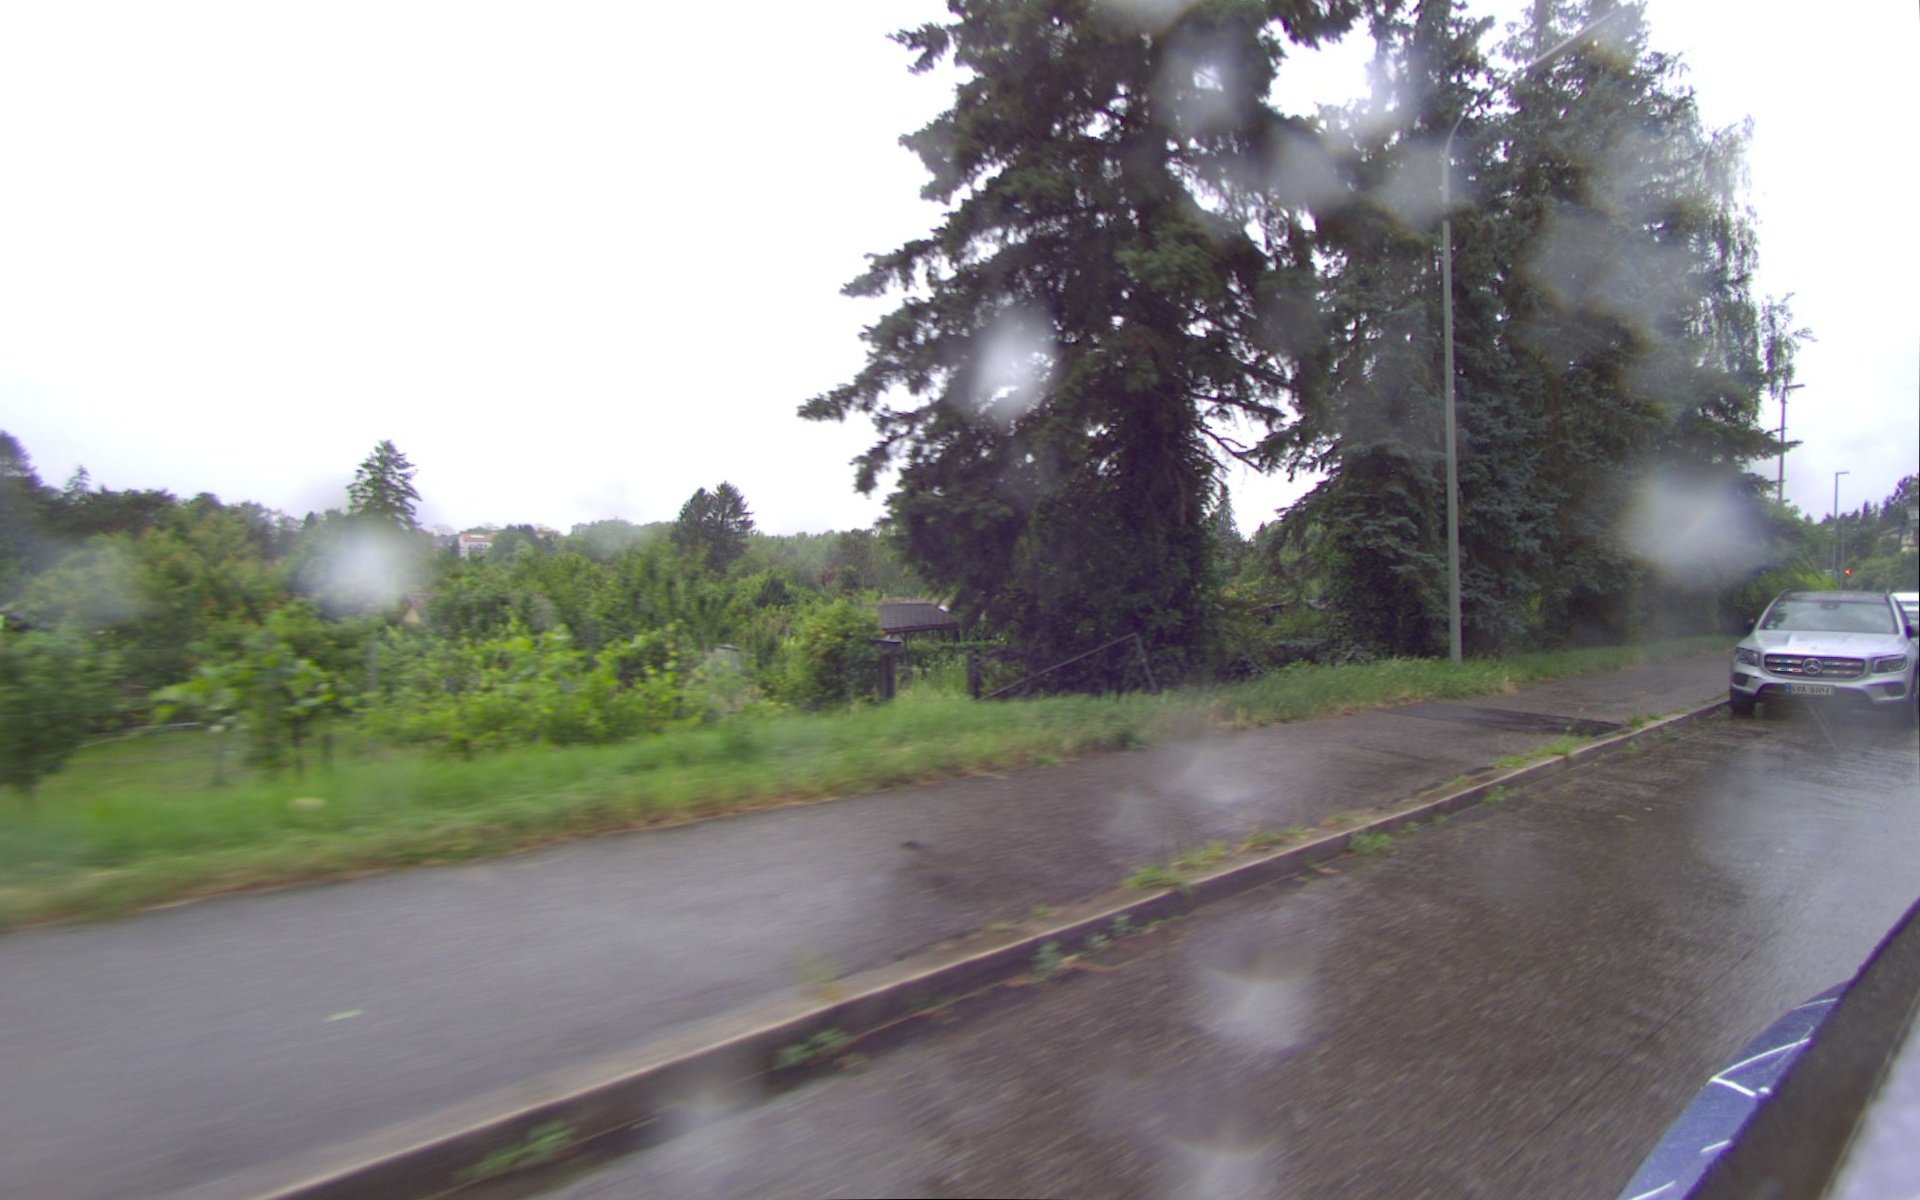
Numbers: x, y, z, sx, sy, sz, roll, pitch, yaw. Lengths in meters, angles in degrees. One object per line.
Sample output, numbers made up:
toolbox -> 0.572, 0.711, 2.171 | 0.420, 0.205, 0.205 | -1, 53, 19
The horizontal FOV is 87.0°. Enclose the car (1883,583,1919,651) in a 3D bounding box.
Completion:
car -> 27.297, 0.467, 28.396 | 4.289, 1.812, 1.786 | 0, 2, -44

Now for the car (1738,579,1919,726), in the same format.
car -> 12.066, 0.584, 13.688 | 4.322, 1.666, 1.817 | 0, 2, -44

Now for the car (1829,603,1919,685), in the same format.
car -> 17.215, 0.746, 18.486 | 4.374, 1.298, 1.632 | 0, 2, -44

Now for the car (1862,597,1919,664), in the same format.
car -> 22.490, 0.678, 23.707 | 4.134, 1.420, 1.711 | 0, 2, -44

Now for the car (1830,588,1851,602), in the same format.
car -> 161.837, -0.931, 186.025 | 2.073, 2.508, 4.795 | 5, 4, 34
